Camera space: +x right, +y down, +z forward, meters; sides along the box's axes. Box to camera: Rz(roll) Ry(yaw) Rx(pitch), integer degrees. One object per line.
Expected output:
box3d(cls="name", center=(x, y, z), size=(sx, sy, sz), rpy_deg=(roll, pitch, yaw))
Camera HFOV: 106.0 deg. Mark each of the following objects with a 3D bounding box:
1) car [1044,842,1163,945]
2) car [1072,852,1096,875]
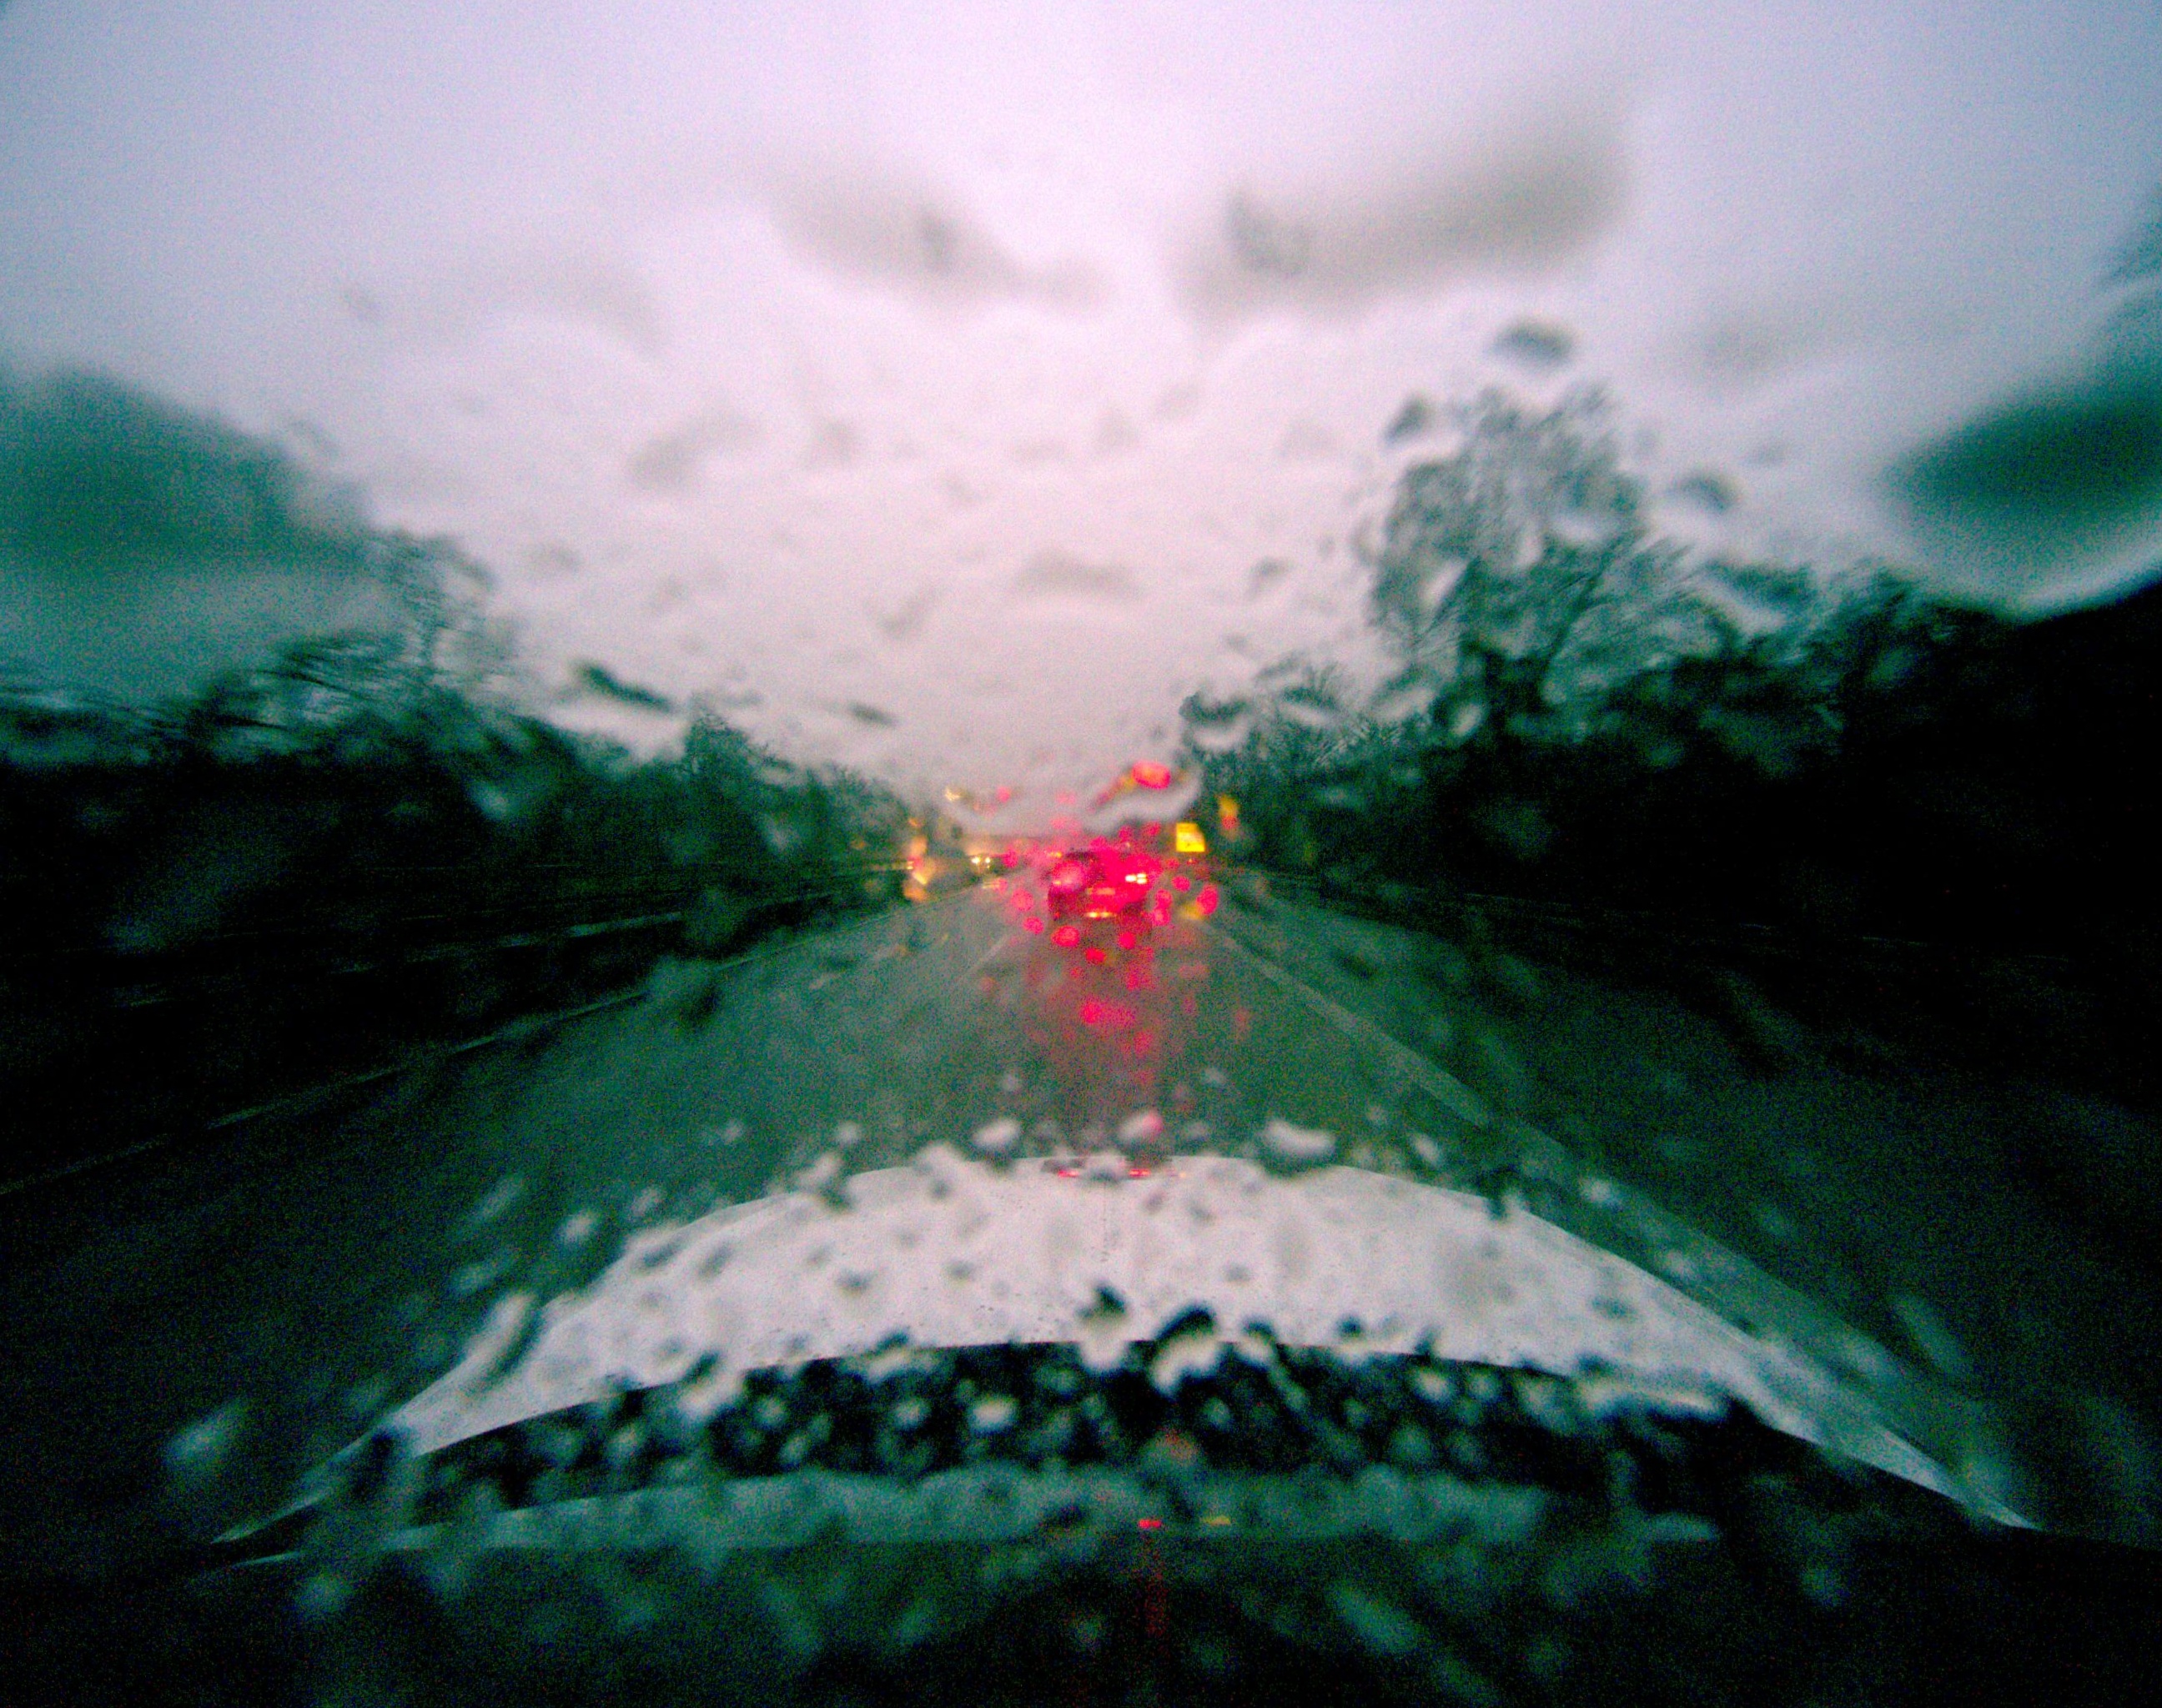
box3d(cls="car", center=(0.375, 0.660, 15.616), size=(1.986, 1.715, 3.829), rpy_deg=(-1, 0, 0))
box3d(cls="car", center=(0.293, 0.831, 71.957), size=(1.986, 2.013, 4.001), rpy_deg=(-1, 0, 1))
